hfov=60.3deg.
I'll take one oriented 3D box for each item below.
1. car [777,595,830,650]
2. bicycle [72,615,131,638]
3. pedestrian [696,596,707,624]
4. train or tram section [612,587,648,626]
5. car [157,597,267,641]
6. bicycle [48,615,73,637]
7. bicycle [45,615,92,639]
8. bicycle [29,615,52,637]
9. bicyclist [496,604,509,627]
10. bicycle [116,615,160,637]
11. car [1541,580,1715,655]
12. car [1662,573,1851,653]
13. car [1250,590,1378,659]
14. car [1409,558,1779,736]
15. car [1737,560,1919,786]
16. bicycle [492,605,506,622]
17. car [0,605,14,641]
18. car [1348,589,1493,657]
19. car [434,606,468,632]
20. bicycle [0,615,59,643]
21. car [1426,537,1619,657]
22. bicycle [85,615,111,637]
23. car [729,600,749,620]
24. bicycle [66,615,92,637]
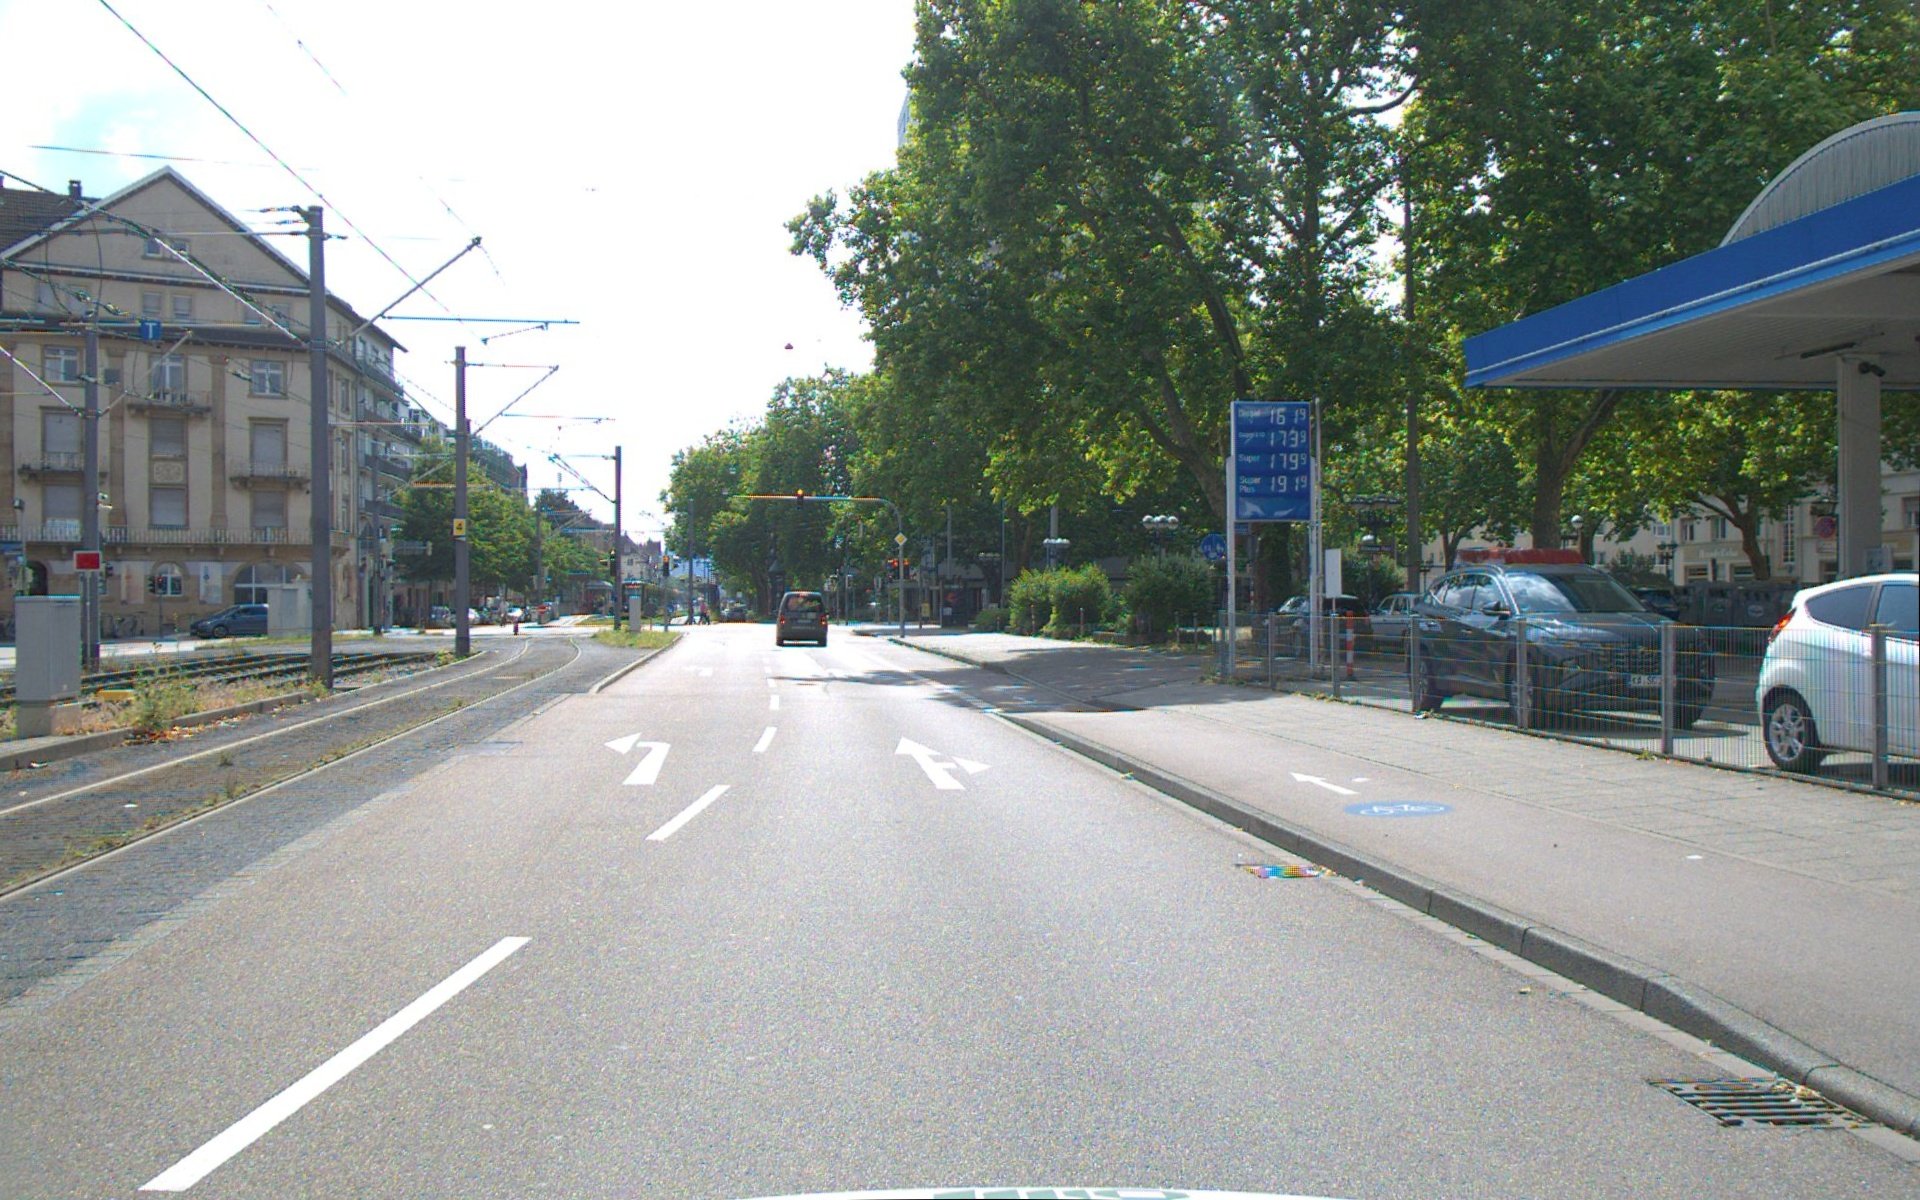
[{"bbox_3d":[-5.537,0.781,58.235,1.717,1.840,3.469,1,0,-7],"label":"car"},{"bbox_3d":[-42.480,1.323,81.852,2.537,1.071,0.674,-1,0,-36],"label":"bicycle"},{"bbox_3d":[-16.648,0.650,106.667,0.647,1.816,0.659,-1,0,-7],"label":"pedestrian"},{"bbox_3d":[-29.925,0.542,150.536,2.198,3.390,12.951,-1,0,-7],"label":"train or tram section"},{"bbox_3d":[-36.845,0.923,81.516,4.746,2.049,1.977,-1,0,-33],"label":"car"},{"bbox_3d":[-44.776,1.301,82.331,0.734,1.071,2.533,-1,0,-36],"label":"bicycle"},{"bbox_3d":[-43.290,1.304,80.315,1.961,1.134,0.479,-1,0,-45],"label":"bicycle"},{"bbox_3d":[-45.680,1.291,82.174,0.734,1.071,2.334,-1,0,-36],"label":"bicycle"},{"bbox_3d":[-31.002,1.041,112.130,0.766,1.538,0.996,-1,0,-18],"label":"bicyclist"},{"bbox_3d":[-41.863,1.334,84.274,0.786,1.071,2.567,-1,0,5],"label":"bicycle"},{"bbox_3d":[16.076,0.397,40.085,1.967,1.680,4.646,1,0,-6],"label":"car"},{"bbox_3d":[19.053,0.290,39.822,1.967,1.785,4.646,1,0,-6],"label":"car"},{"bbox_3d":[8.152,0.543,38.437,1.618,1.496,4.035,-1,0,-8],"label":"car"},{"bbox_3d":[6.484,0.429,17.547,1.771,1.630,4.576,0,0,-7],"label":"car"},{"bbox_3d":[7.187,0.480,11.000,1.772,1.481,3.994,0,0,-8],"label":"car"},{"bbox_3d":[-31.236,0.915,112.128,0.880,1.067,2.298,-1,0,-17],"label":"bicycle"},{"bbox_3d":[-47.542,1.135,79.187,3.908,1.704,1.999,-1,0,25],"label":"car"},{"bbox_3d":[10.677,0.517,38.647,1.619,1.496,4.032,-1,0,-11],"label":"car"},{"bbox_3d":[-41.427,1.503,134.668,1.956,2.049,3.993,-1,0,-7],"label":"car"},{"bbox_3d":[-45.699,1.413,80.520,3.239,1.275,1.000,-1,0,9],"label":"bicycle"},{"bbox_3d":[13.349,-0.081,39.733,2.071,2.627,6.012,-1,0,-6],"label":"car"},{"bbox_3d":[-43.411,1.321,83.289,0.797,1.071,2.533,-1,0,-36],"label":"bicycle"},{"bbox_3d":[-20.904,0.948,156.731,1.828,1.783,3.993,-1,0,-7],"label":"car"},{"bbox_3d":[-44.095,1.311,82.782,0.797,1.071,2.533,-1,0,-36],"label":"bicycle"}]
